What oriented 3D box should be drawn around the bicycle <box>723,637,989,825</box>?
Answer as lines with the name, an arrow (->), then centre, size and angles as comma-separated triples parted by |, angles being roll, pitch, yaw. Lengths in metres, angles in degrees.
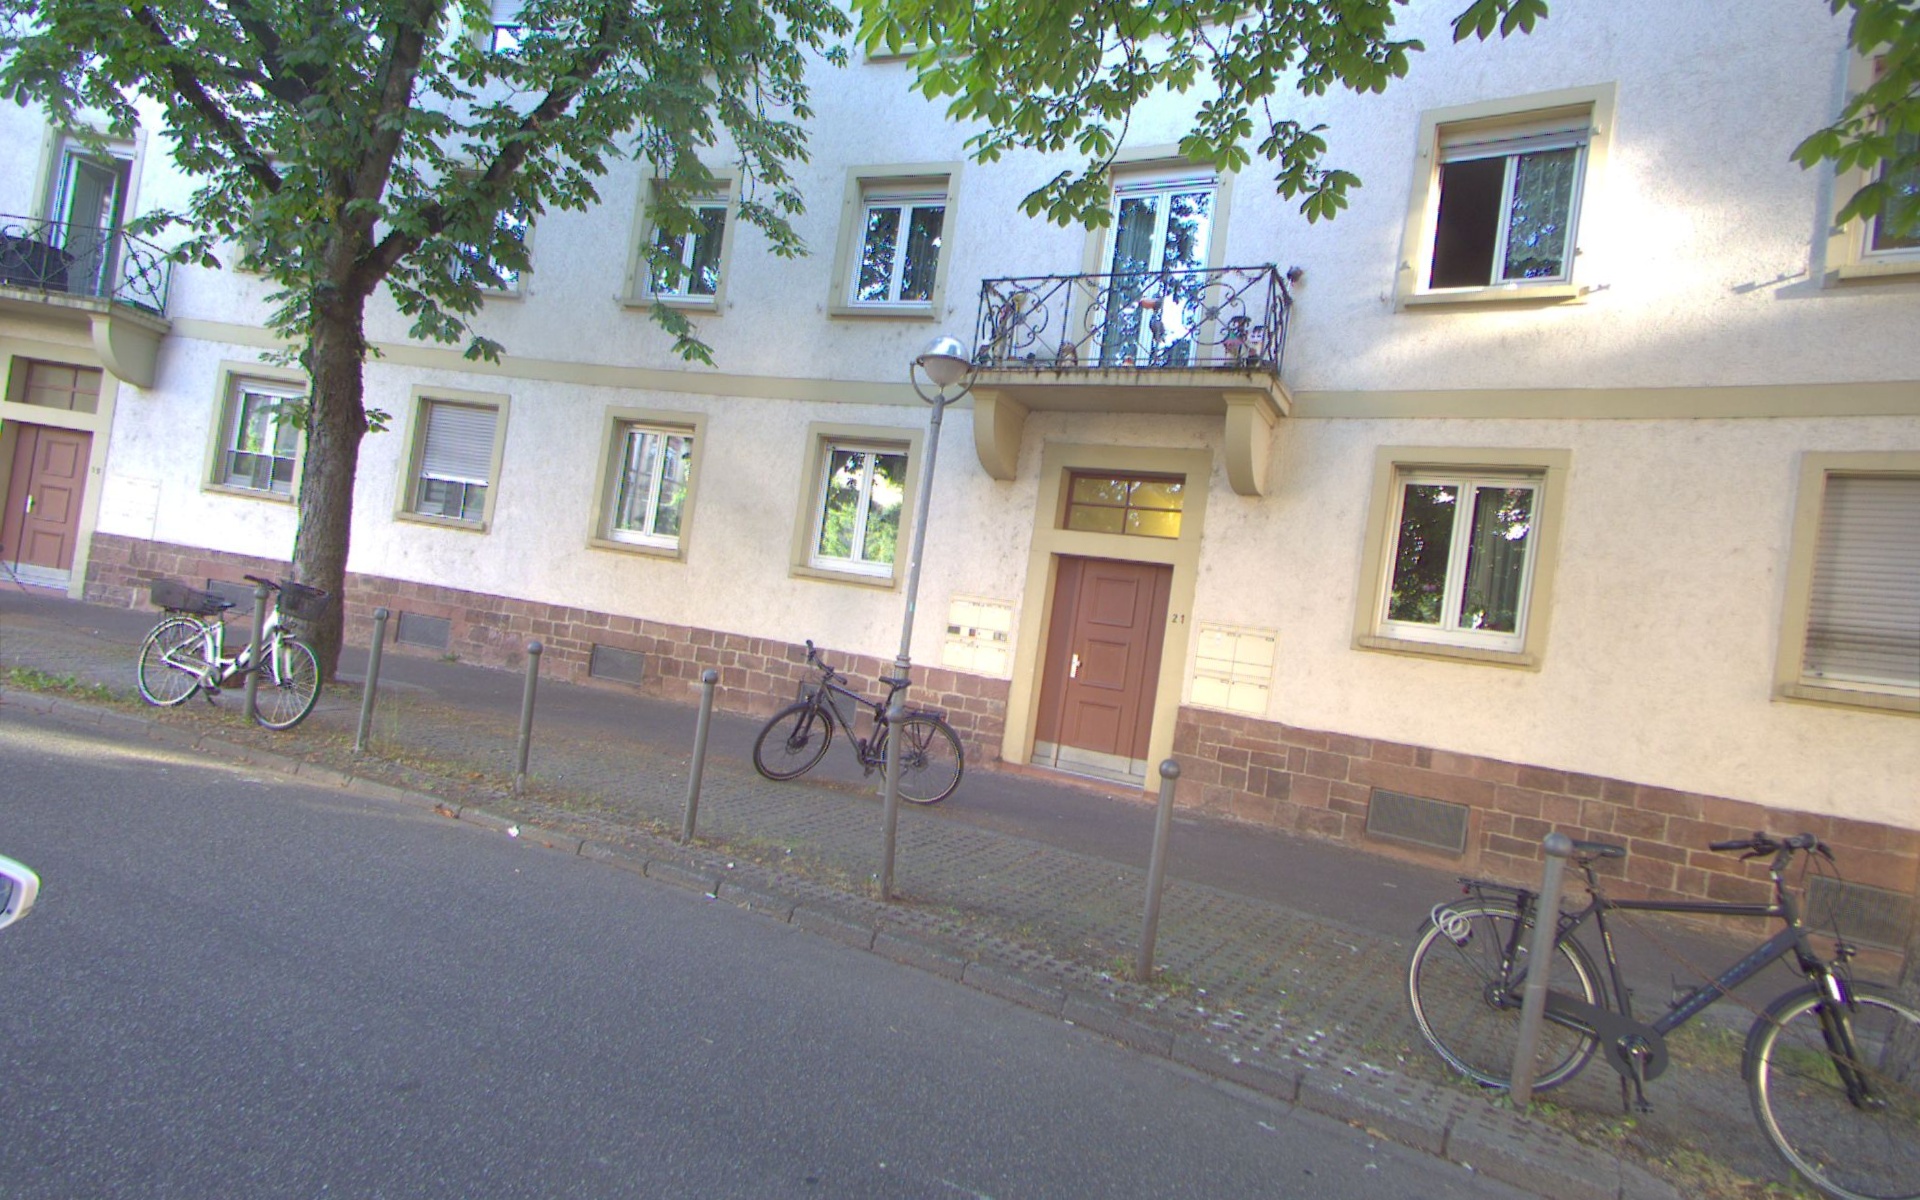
bicycle -> -0.789, 1.001, 7.993 | 1.823, 1.131, 0.804 | 8, -1, 8

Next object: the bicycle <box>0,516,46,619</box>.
bicycle -> -11.700, -0.496, 11.565 | 1.929, 1.120, 0.670 | 8, -2, 13

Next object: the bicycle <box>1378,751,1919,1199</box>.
bicycle -> 2.633, 1.340, 3.633 | 1.881, 1.237, 0.719 | 7, -1, 29

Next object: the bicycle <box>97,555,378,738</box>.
bicycle -> -5.609, 0.340, 7.820 | 1.936, 1.109, 0.514 | 8, 0, 12
